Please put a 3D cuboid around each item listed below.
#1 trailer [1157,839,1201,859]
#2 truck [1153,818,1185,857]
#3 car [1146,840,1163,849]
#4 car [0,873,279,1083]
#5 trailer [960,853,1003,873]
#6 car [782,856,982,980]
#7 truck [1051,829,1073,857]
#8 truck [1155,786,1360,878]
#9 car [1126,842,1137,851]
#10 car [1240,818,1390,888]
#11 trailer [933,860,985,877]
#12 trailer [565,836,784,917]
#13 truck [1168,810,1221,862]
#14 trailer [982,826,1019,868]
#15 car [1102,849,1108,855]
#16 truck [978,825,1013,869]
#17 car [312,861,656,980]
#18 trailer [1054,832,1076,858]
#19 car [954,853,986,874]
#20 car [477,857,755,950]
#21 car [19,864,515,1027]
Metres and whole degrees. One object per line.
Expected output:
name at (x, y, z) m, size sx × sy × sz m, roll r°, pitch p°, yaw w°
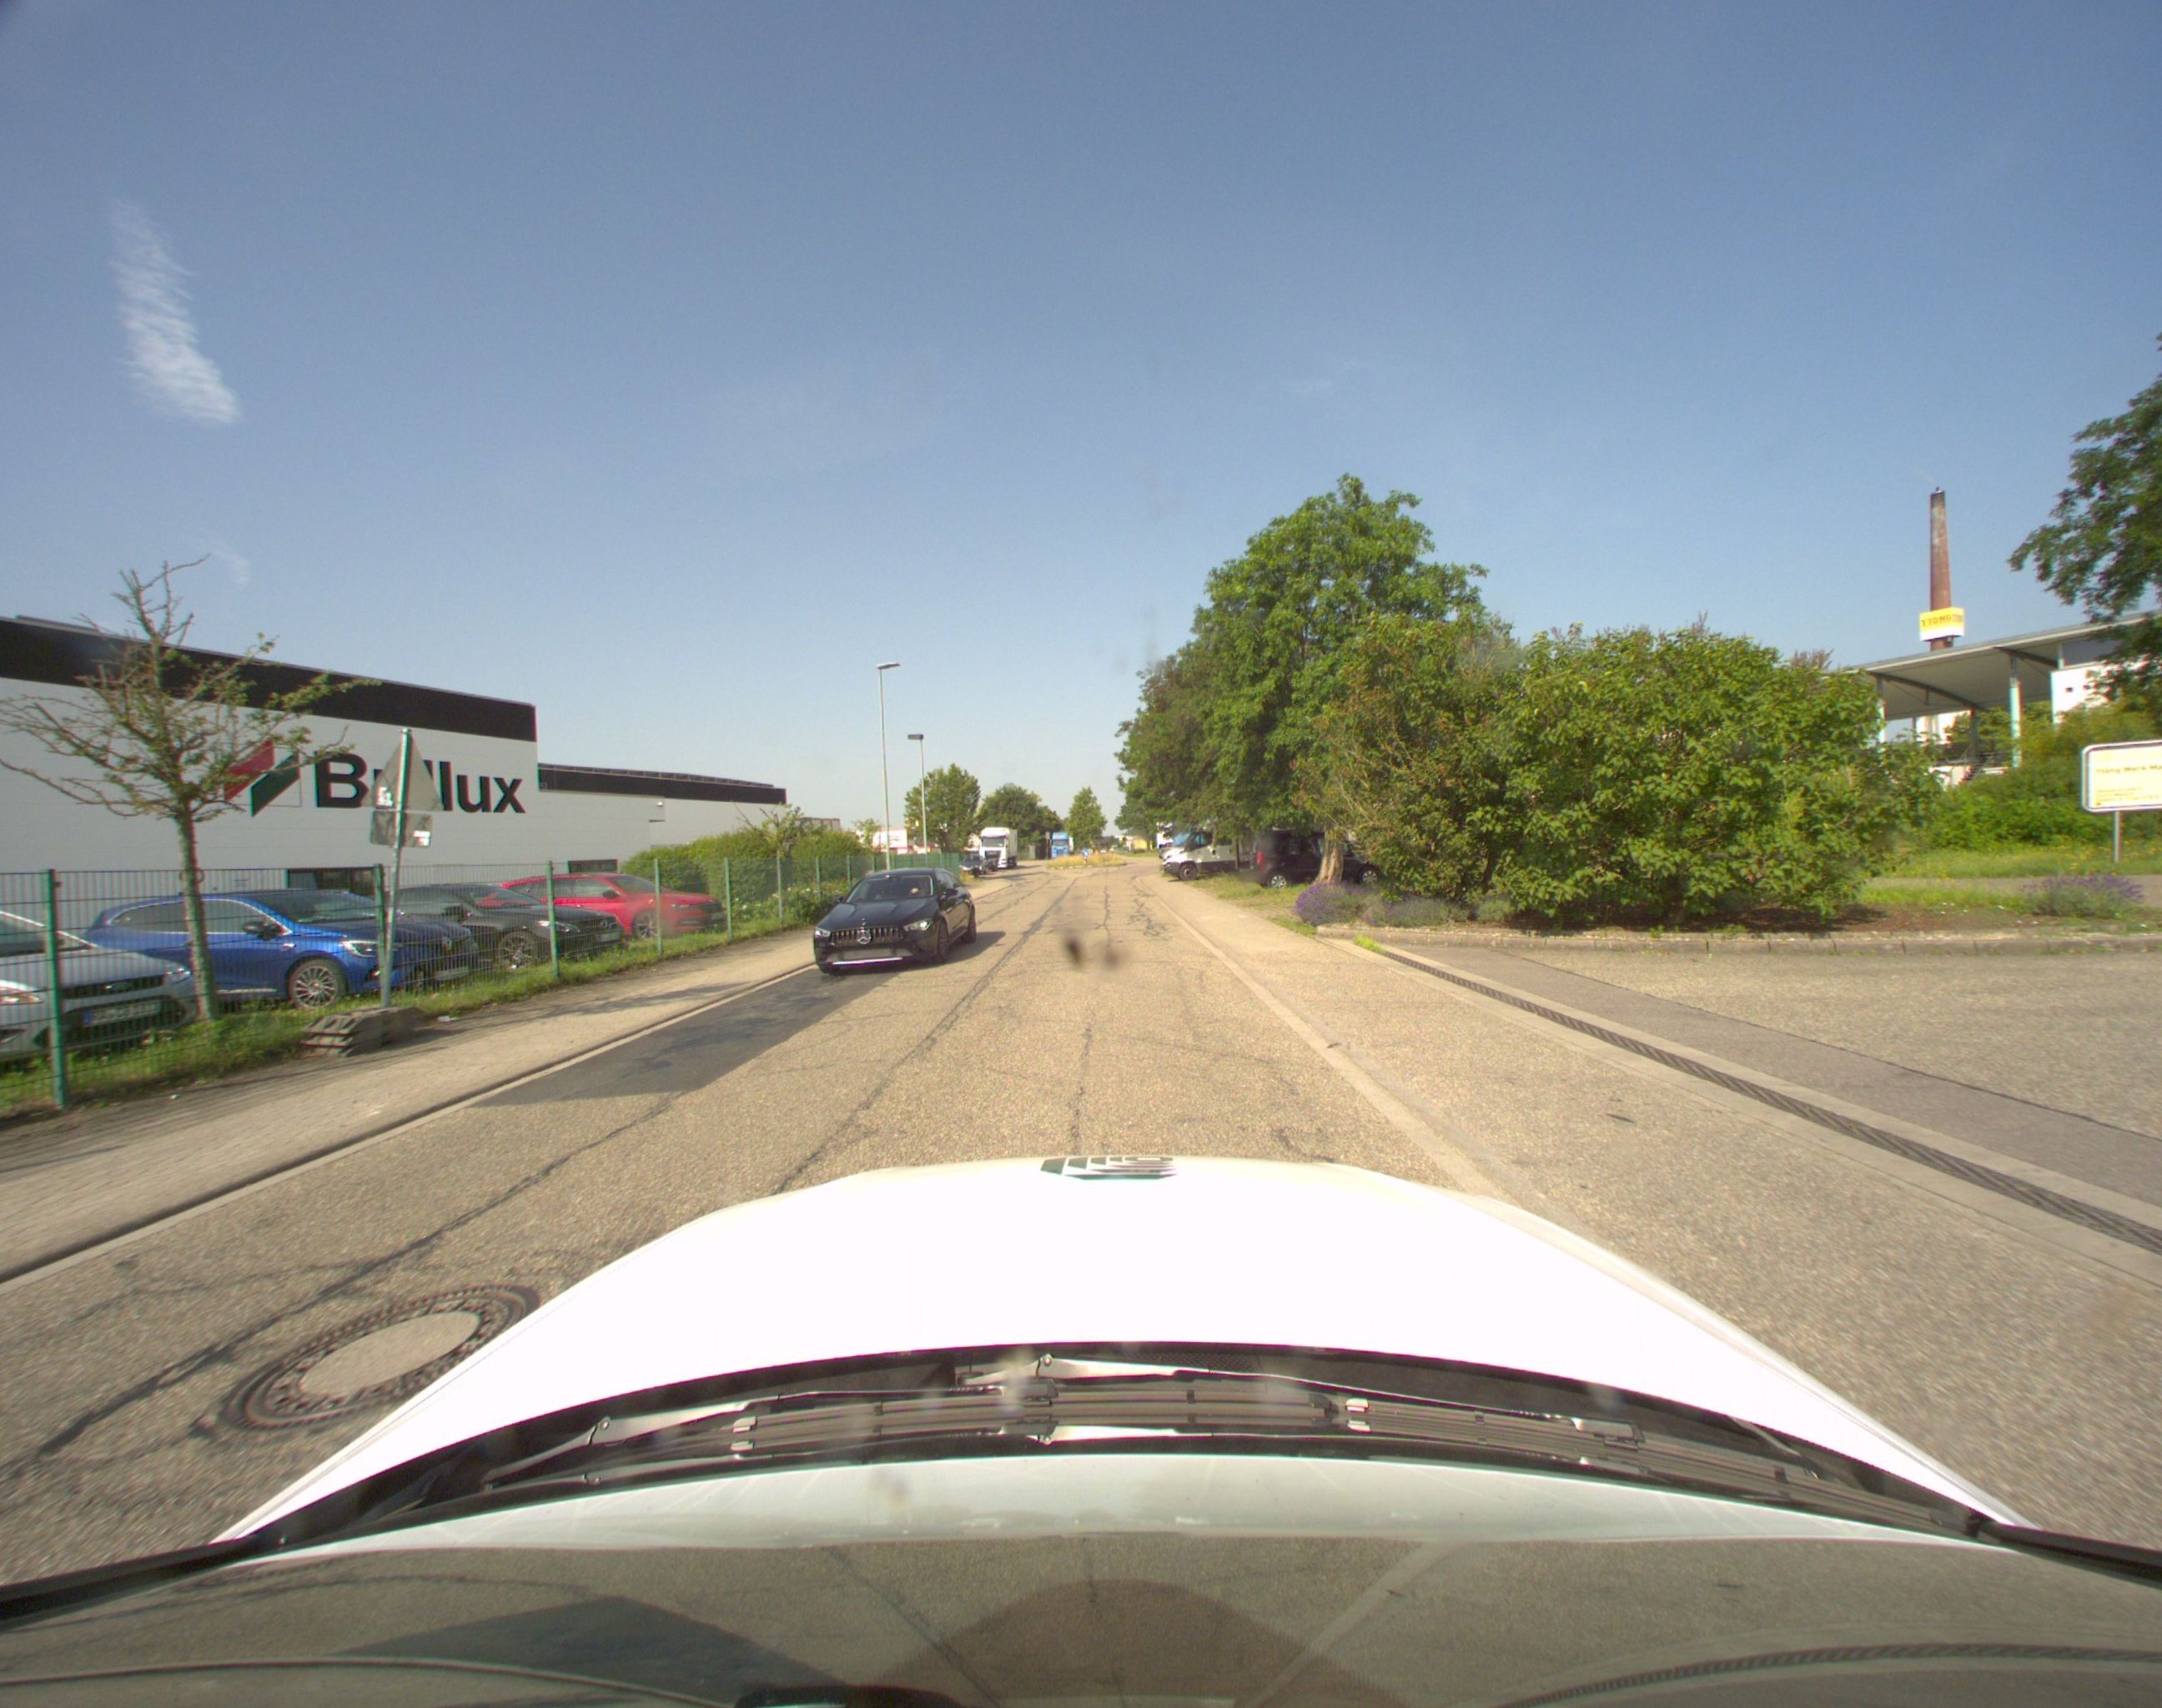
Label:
trailer at (9.375, -0.474, 79.673) m, size 2.735 × 1.573 × 16.179 m, roll -5°, pitch 0°, yaw 2°
truck at (9.549, -1.756, 88.733) m, size 2.736 × 3.981 × 4.002 m, roll -5°, pitch 0°, yaw 2°
car at (12.190, -1.598, 135.419) m, size 1.671 × 1.330 × 3.645 m, roll -1°, pitch -1°, yaw -15°
car at (-9.646, 1.060, 6.754) m, size 4.027 × 1.444 × 1.874 m, roll -5°, pitch 0°, yaw 0°
trailer at (-8.339, 0.704, 68.794) m, size 2.670 × 1.453 × 5.081 m, roll -2°, pitch 1°, yaw 3°
car at (-2.925, 0.855, 13.073) m, size 1.987 × 1.449 × 4.419 m, roll -5°, pitch 0°, yaw 0°
truck at (-2.728, -1.475, 119.822) m, size 2.815 × 3.826 × 9.675 m, roll -1°, pitch -1°, yaw 1°
truck at (7.508, -0.923, 35.470) m, size 8.181 × 3.370 × 2.741 m, roll -3°, pitch -1°, yaw 0°
car at (9.928, -1.431, 160.268) m, size 1.786 × 1.750 × 4.000 m, roll -1°, pitch -1°, yaw 1°
car at (7.023, -0.035, 24.831) m, size 3.971 × 1.837 × 2.001 m, roll -3°, pitch 0°, yaw 2°
trailer at (-8.268, 0.948, 55.889) m, size 2.538 × 0.925 × 6.710 m, roll 0°, pitch 1°, yaw 0°
trailer at (-23.031, 1.184, 47.850) m, size 2.462 × 4.041 × 13.951 m, roll -1°, pitch -1°, yaw 17°
truck at (8.894, -1.284, 64.783) m, size 2.877 × 3.535 × 9.760 m, roll -6°, pitch -1°, yaw 2°
trailer at (-7.796, -0.601, 79.723) m, size 2.690 × 3.922 × 7.576 m, roll -1°, pitch -1°, yaw 1°
car at (7.424, -0.700, 256.394) m, size 1.713 × 1.660 × 3.823 m, roll -1°, pitch -1°, yaw 0°
truck at (-7.890, -0.650, 75.458) m, size 2.699 × 3.922 × 4.297 m, roll -1°, pitch -1°, yaw 1°
car at (-9.396, 1.000, 13.090) m, size 4.027 × 1.444 × 1.874 m, roll -5°, pitch 0°, yaw 0°
trailer at (-2.472, -1.377, 129.082) m, size 2.821 × 3.843 × 12.039 m, roll -1°, pitch -1°, yaw 1°
car at (-8.489, 0.698, 62.585) m, size 1.689 × 1.561 × 4.338 m, roll 0°, pitch 1°, yaw 2°
car at (-9.474, 0.976, 16.888) m, size 4.521 × 1.444 × 1.952 m, roll -5°, pitch 0°, yaw 0°
car at (-9.590, 1.017, 9.880) m, size 4.027 × 1.444 × 1.874 m, roll -5°, pitch 0°, yaw 0°
